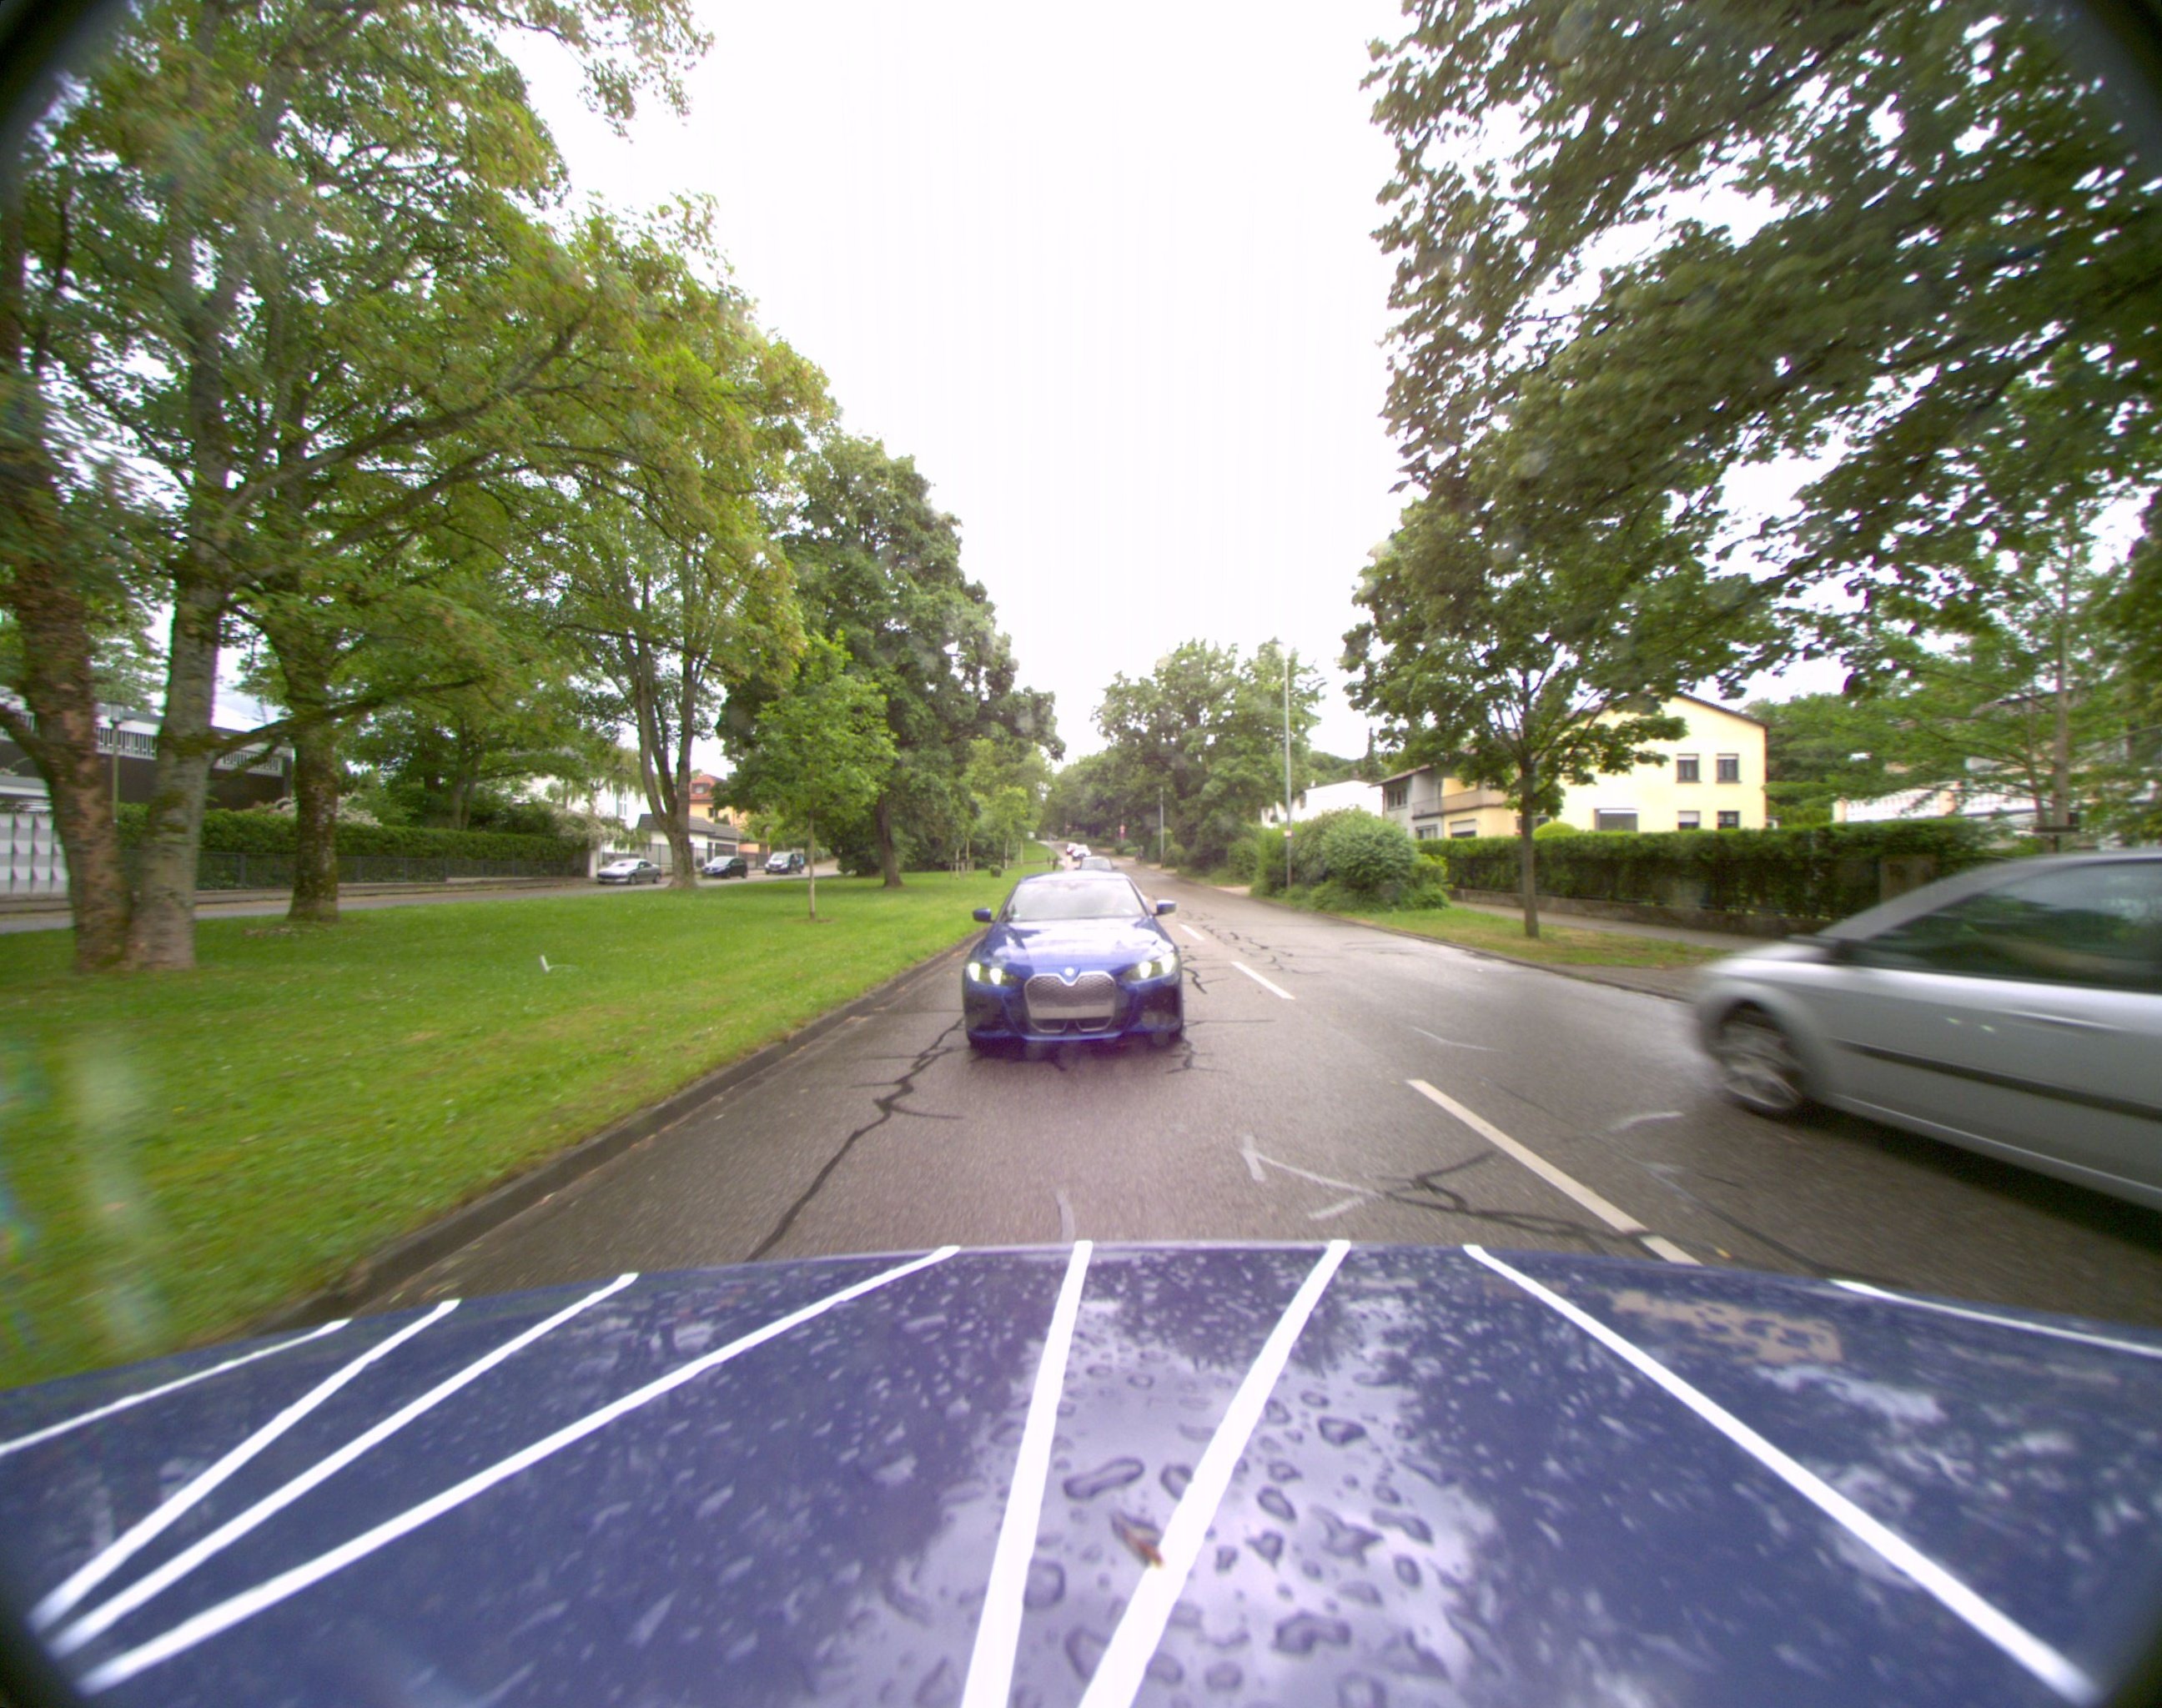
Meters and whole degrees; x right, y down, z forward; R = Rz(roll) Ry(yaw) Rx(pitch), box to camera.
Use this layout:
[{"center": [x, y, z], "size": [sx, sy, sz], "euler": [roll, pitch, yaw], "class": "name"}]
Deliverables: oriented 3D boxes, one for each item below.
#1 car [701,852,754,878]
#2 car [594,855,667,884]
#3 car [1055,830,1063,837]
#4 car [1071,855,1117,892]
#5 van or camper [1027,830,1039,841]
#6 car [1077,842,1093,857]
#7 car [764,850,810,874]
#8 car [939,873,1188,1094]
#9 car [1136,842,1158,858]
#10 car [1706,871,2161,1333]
[{"center": [-24.208, 0.716, 52.157], "size": [1.907, 1.615, 4.033], "euler": [0, 1, -2], "class": "car"}, {"center": [-23.626, 0.795, 39.999], "size": [1.686, 1.367, 3.708], "euler": [2, 1, -2], "class": "car"}, {"center": [-4.843, -4.530, 168.013], "size": [1.759, 1.356, 4.322], "euler": [1, 3, -1], "class": "car"}, {"center": [0.613, 0.774, 32.165], "size": [1.796, 1.459, 4.510], "euler": [0, 0, 2], "class": "car"}, {"center": [-9.413, -3.613, 148.276], "size": [2.000, 1.858, 5.658], "euler": [0, 2, -7], "class": "van or camper"}, {"center": [0.430, -0.472, 82.384], "size": [1.678, 1.542, 3.831], "euler": [1, 1, 1], "class": "car"}, {"center": [-24.920, 0.635, 64.569], "size": [2.165, 1.868, 5.067], "euler": [0, 1, -2], "class": "car"}, {"center": [-0.042, 1.029, 7.911], "size": [1.796, 1.459, 4.510], "euler": [-2, 0, 2], "class": "car"}, {"center": [6.984, -0.489, 81.005], "size": [1.668, 1.533, 4.281], "euler": [-4, 2, -3], "class": "car"}, {"center": [4.728, 0.908, 2.585], "size": [1.768, 1.604, 4.141], "euler": [1, 0, 0], "class": "car"}]
